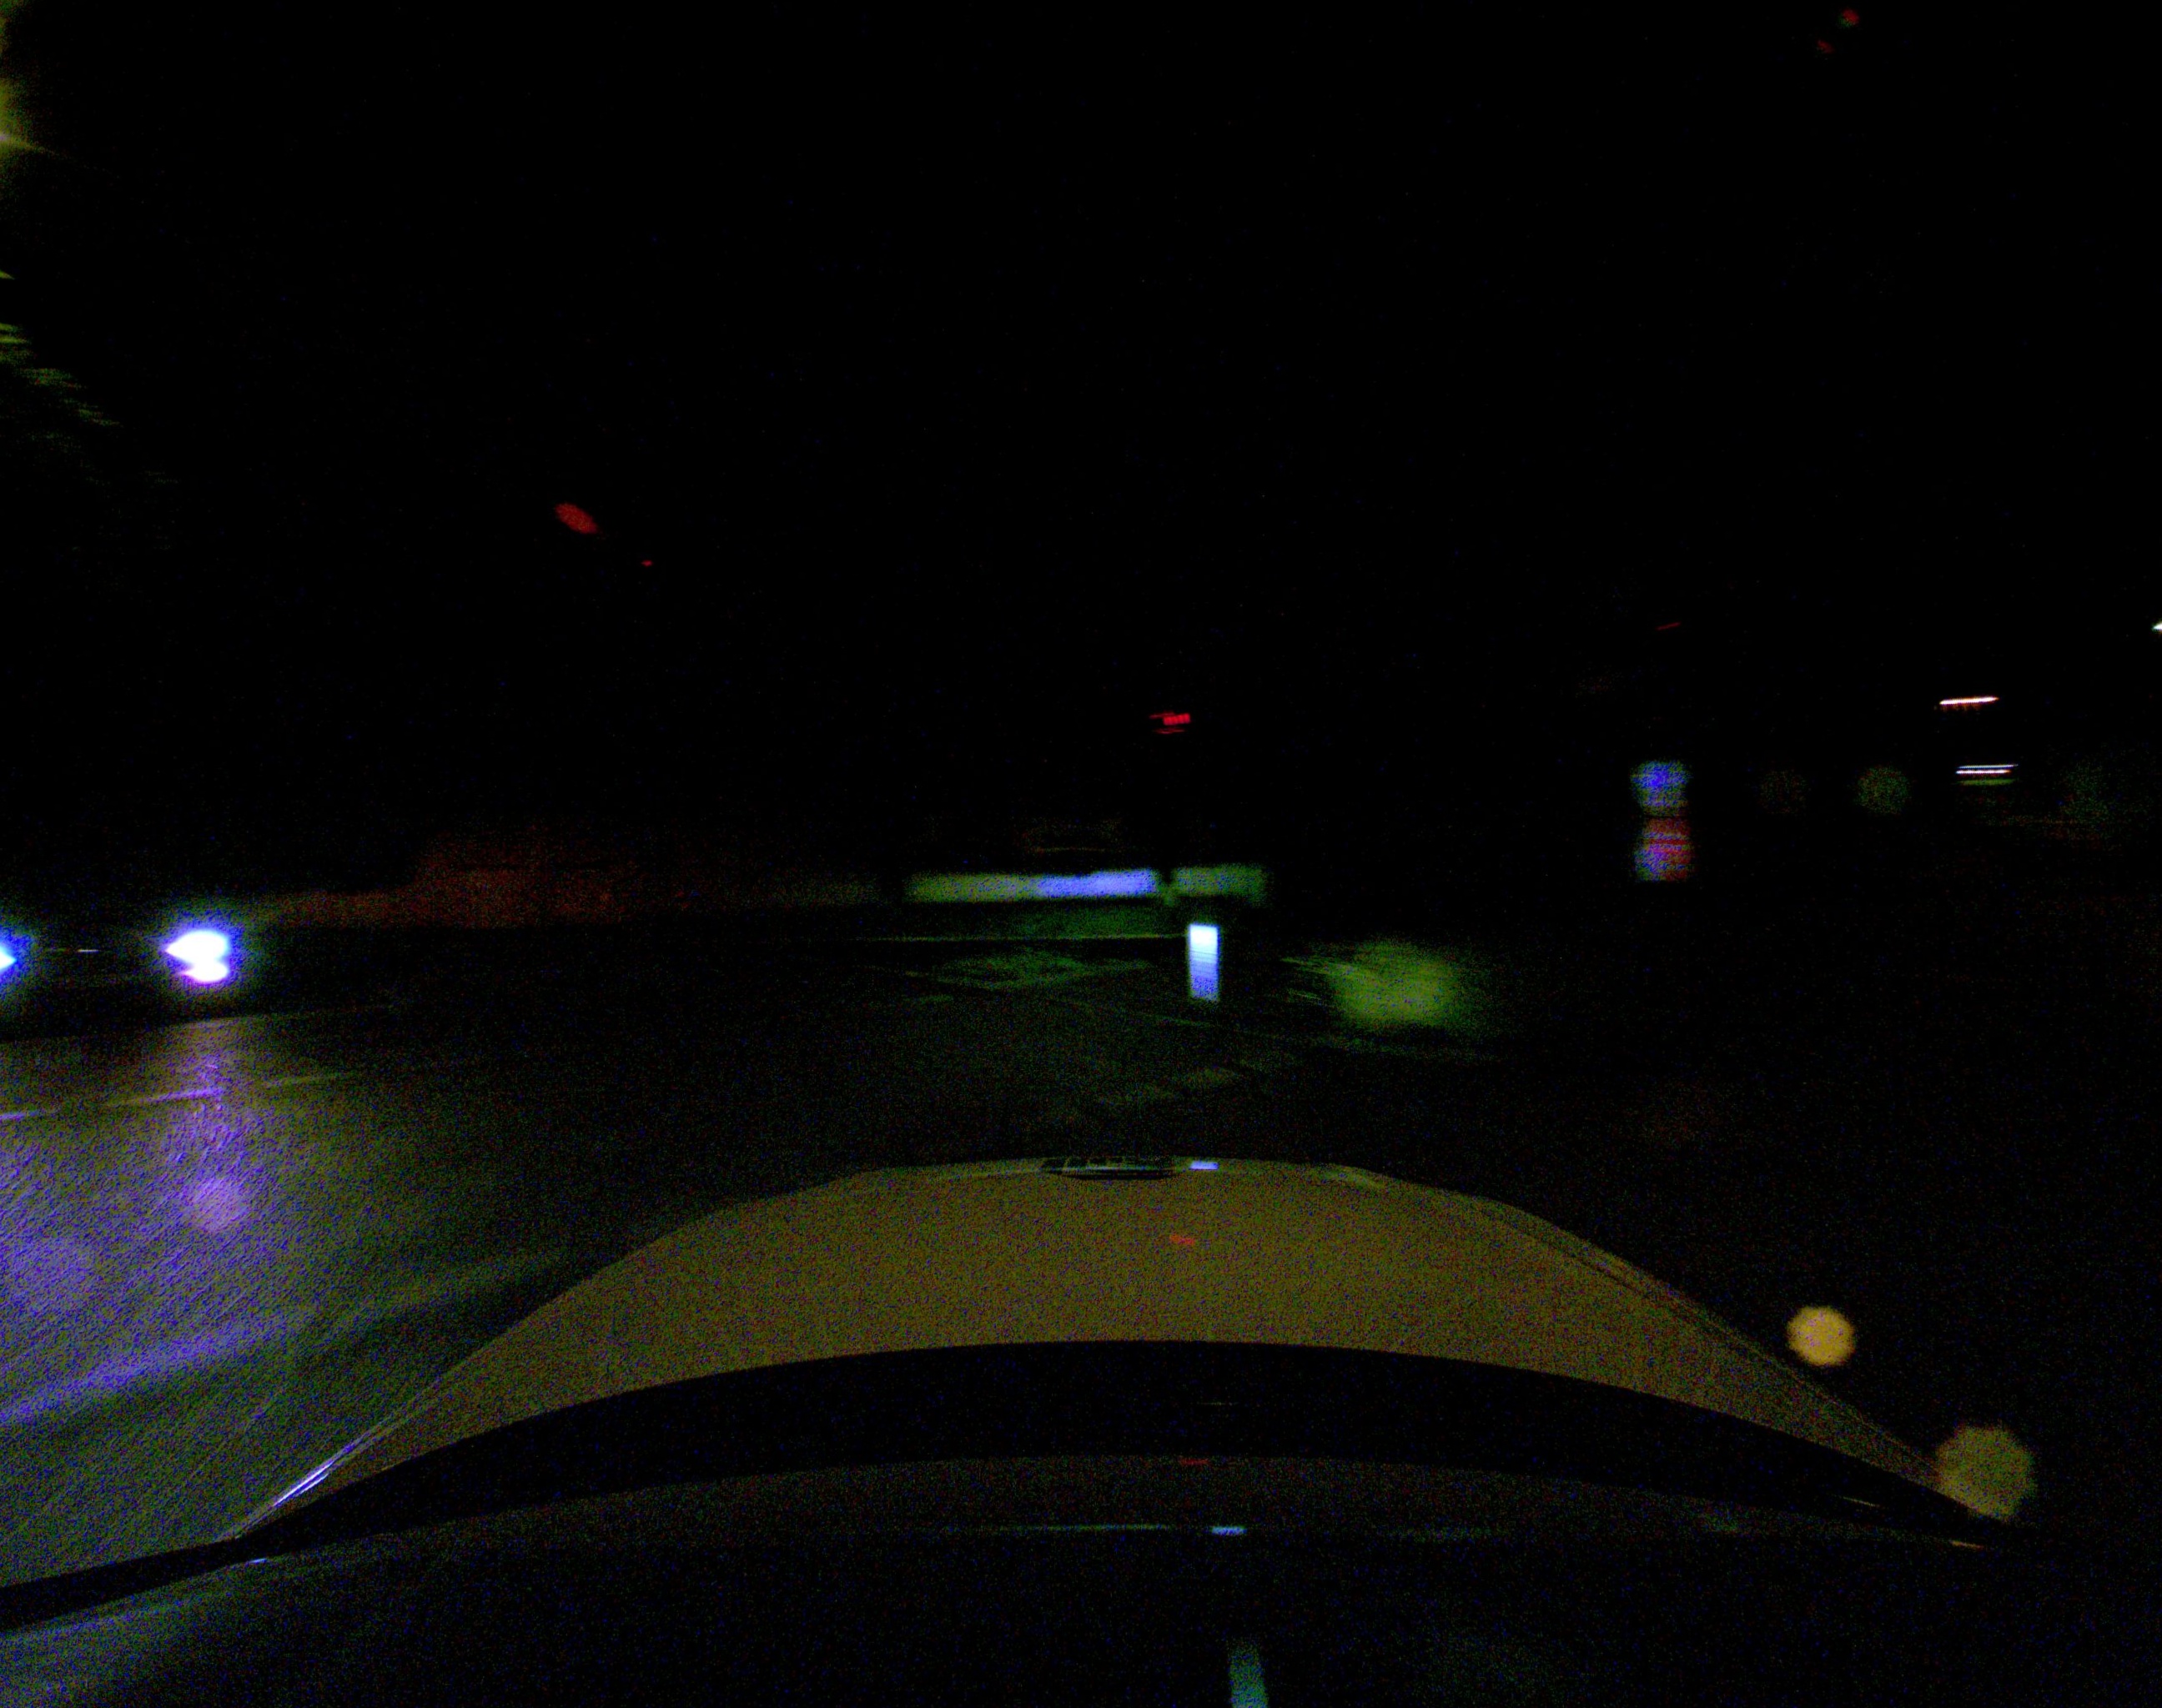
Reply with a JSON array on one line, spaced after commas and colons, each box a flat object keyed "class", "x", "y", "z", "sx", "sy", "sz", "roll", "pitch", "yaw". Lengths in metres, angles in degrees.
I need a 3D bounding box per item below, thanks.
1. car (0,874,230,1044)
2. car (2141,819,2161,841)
[{"class": "car", "x": -10.693, "y": 0.966, "z": 8.875, "sx": 4.235, "sy": 1.430, "sz": 1.742, "roll": -1, "pitch": 0, "yaw": 41}, {"class": "car", "x": 90.172, "y": -2.000, "z": 67.848, "sx": 4.021, "sy": 1.769, "sz": 1.976, "roll": -1, "pitch": -1, "yaw": -41}]
